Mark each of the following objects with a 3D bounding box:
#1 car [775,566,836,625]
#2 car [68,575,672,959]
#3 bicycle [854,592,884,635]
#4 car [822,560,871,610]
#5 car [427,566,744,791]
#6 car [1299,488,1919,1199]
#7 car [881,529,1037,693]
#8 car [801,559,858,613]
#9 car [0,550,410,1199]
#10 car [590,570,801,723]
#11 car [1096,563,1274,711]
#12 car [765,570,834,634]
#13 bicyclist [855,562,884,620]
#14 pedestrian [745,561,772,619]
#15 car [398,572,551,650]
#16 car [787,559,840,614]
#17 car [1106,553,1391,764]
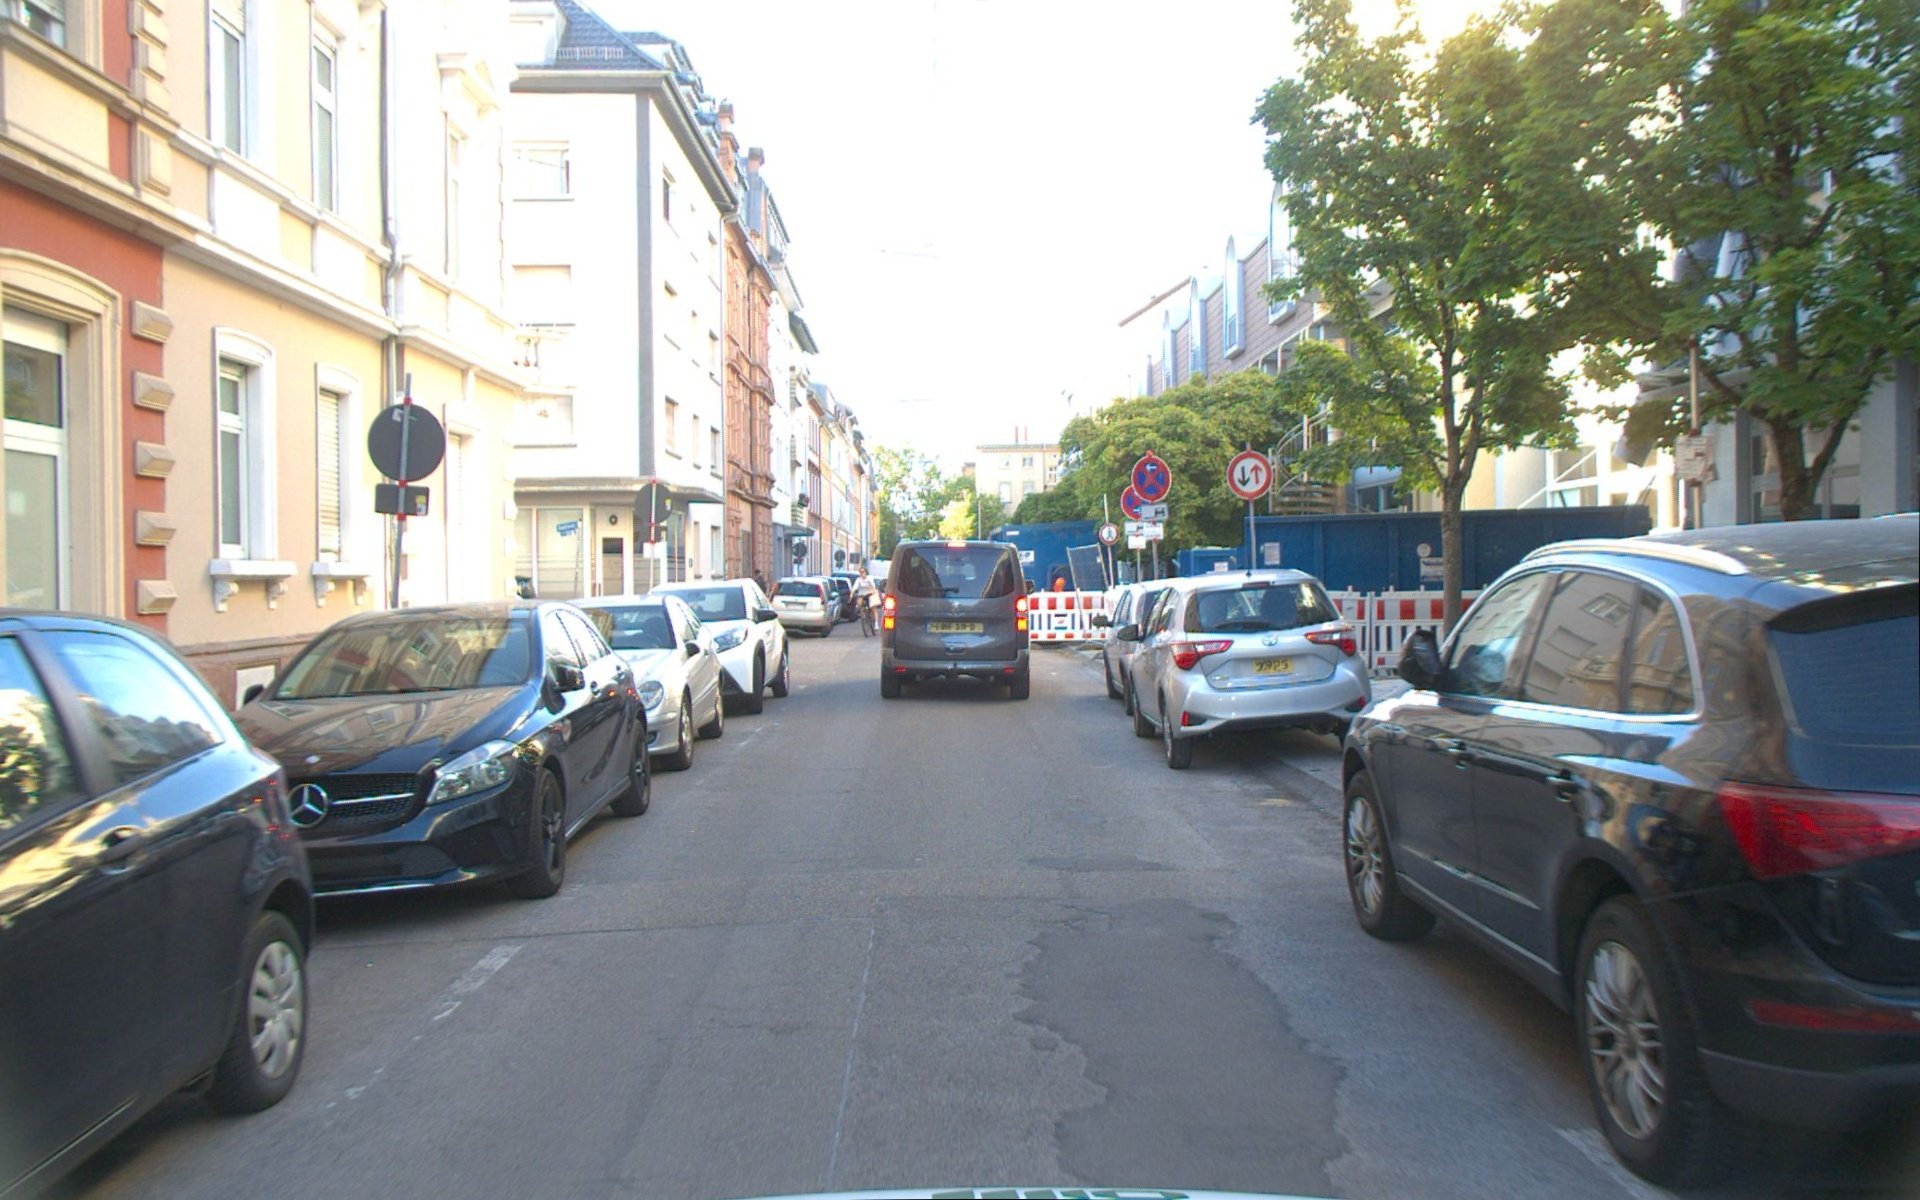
[{"bbox_3d":[-4.493,-0.139,48.410,1.624,1.552,3.415,4,0,-5],"label":"car"},{"bbox_3d":[-2.881,0.679,9.200,1.882,1.509,4.266,-3,1,-2],"label":"car"},{"bbox_3d":[-2.308,0.332,42.089,0.718,1.045,2.114,1,1,-2],"label":"bicycle"},{"bbox_3d":[-4.707,-0.612,68.516,1.855,1.878,4.345,4,0,-5],"label":"car"},{"bbox_3d":[-3.102,0.548,14.618,1.882,1.587,4.266,-3,1,-2],"label":"car"},{"bbox_3d":[2.585,0.539,5.589,1.847,1.650,4.433,-2,1,-1],"label":"car"},{"bbox_3d":[0.017,0.116,21.478,1.826,1.919,4.236,0,0,1],"label":"car"},{"bbox_3d":[-4.667,-0.506,59.149,1.855,1.749,3.750,4,0,-5],"label":"car"},{"bbox_3d":[-2.857,0.733,3.730,1.863,1.587,4.239,-3,1,-2],"label":"car"},{"bbox_3d":[-3.066,0.461,20.023,1.882,1.533,4.266,-3,1,-1],"label":"car"},{"bbox_3d":[2.545,0.363,19.457,1.642,1.501,3.730,-2,1,2],"label":"car"},{"bbox_3d":[-4.156,0.042,43.091,1.624,1.485,3.415,4,0,-5],"label":"car"},{"bbox_3d":[-2.303,-0.230,42.145,0.718,1.437,0.940,1,0,-2],"label":"bicyclist"},{"bbox_3d":[-5.889,-0.301,48.417,0.725,1.693,0.703,-1,1,-6],"label":"pedestrian"},{"bbox_3d":[-10.115,0.222,34.588,2.730,1.567,1.593,1,1,-1],"label":"car"},{"bbox_3d":[-4.890,-0.457,55.507,1.634,1.694,3.089,4,0,-5],"label":"car"},{"bbox_3d":[2.404,0.423,14.725,1.643,1.551,3.969,-2,1,-2],"label":"car"}]
